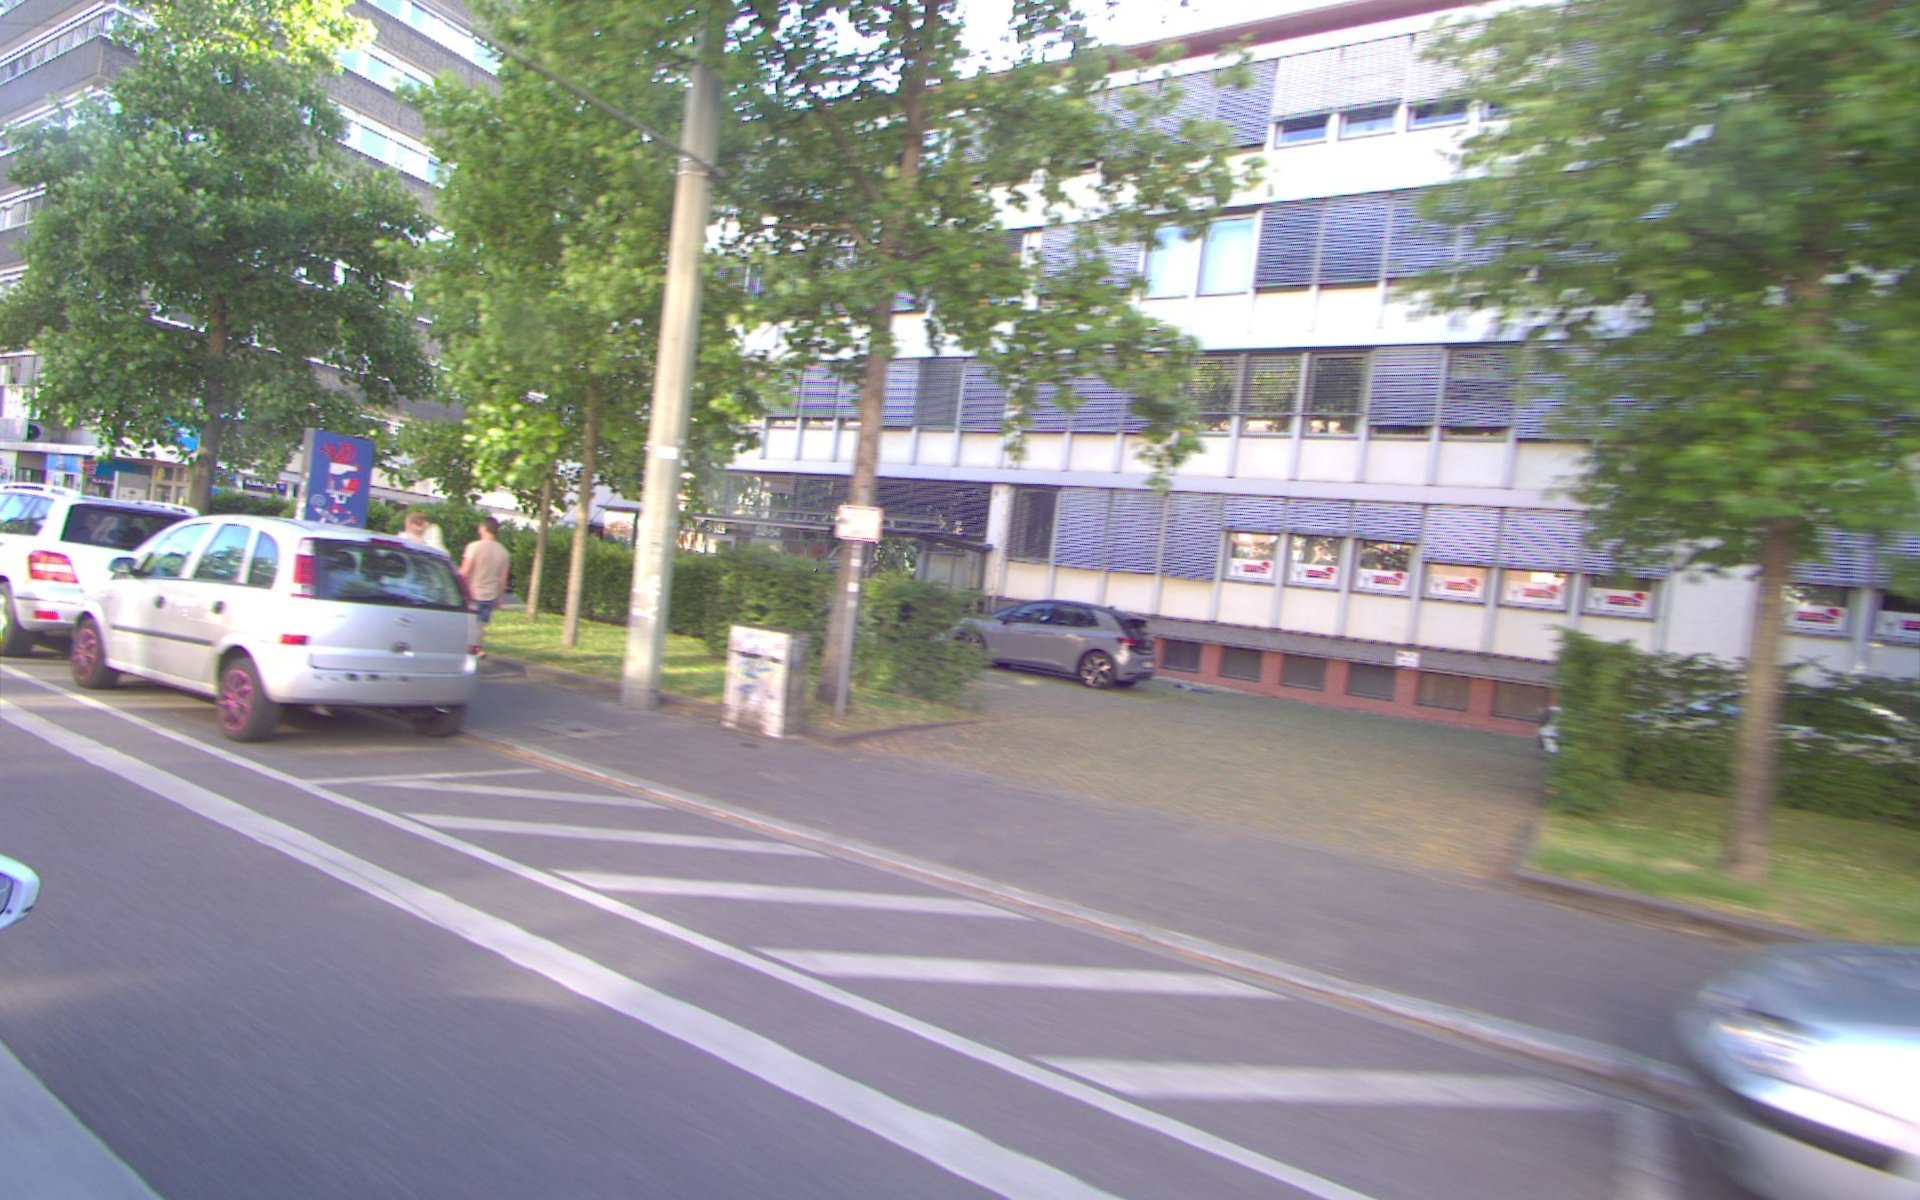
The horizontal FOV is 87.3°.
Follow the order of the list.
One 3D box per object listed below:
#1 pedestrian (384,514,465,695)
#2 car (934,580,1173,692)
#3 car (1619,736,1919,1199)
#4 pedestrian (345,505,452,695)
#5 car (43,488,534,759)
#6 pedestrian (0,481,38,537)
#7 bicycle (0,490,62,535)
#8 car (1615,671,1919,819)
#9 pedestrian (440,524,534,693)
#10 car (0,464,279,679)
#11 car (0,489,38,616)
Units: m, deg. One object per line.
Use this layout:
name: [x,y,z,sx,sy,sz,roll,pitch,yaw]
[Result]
pedestrian: [-6.114,0.041,11.481,0.736,1.981,0.464,7,4,37]
car: [1.826,0.700,20.051,4.235,1.555,1.793,8,0,29]
car: [4.050,1.397,2.166,4.248,1.460,1.751,7,-1,36]
pedestrian: [-5.696,0.006,10.209,0.593,1.831,0.611,7,1,36]
car: [-5.702,0.132,8.449,3.996,1.609,1.718,7,-2,30]
pedestrian: [-32.426,-3.117,34.329,1.146,1.750,1.034,7,1,-34]
bicycle: [-31.759,-2.976,33.970,0.790,1.233,2.183,7,-2,-1]
car: [11.647,1.978,13.940,3.928,1.482,1.794,7,0,25]
pedestrian: [-5.677,0.094,12.064,0.736,1.924,0.667,7,4,37]
car: [-9.837,-0.419,11.000,4.631,1.856,1.930,7,-1,29]
car: [-14.352,-0.888,13.513,4.368,1.588,1.545,7,-1,30]
